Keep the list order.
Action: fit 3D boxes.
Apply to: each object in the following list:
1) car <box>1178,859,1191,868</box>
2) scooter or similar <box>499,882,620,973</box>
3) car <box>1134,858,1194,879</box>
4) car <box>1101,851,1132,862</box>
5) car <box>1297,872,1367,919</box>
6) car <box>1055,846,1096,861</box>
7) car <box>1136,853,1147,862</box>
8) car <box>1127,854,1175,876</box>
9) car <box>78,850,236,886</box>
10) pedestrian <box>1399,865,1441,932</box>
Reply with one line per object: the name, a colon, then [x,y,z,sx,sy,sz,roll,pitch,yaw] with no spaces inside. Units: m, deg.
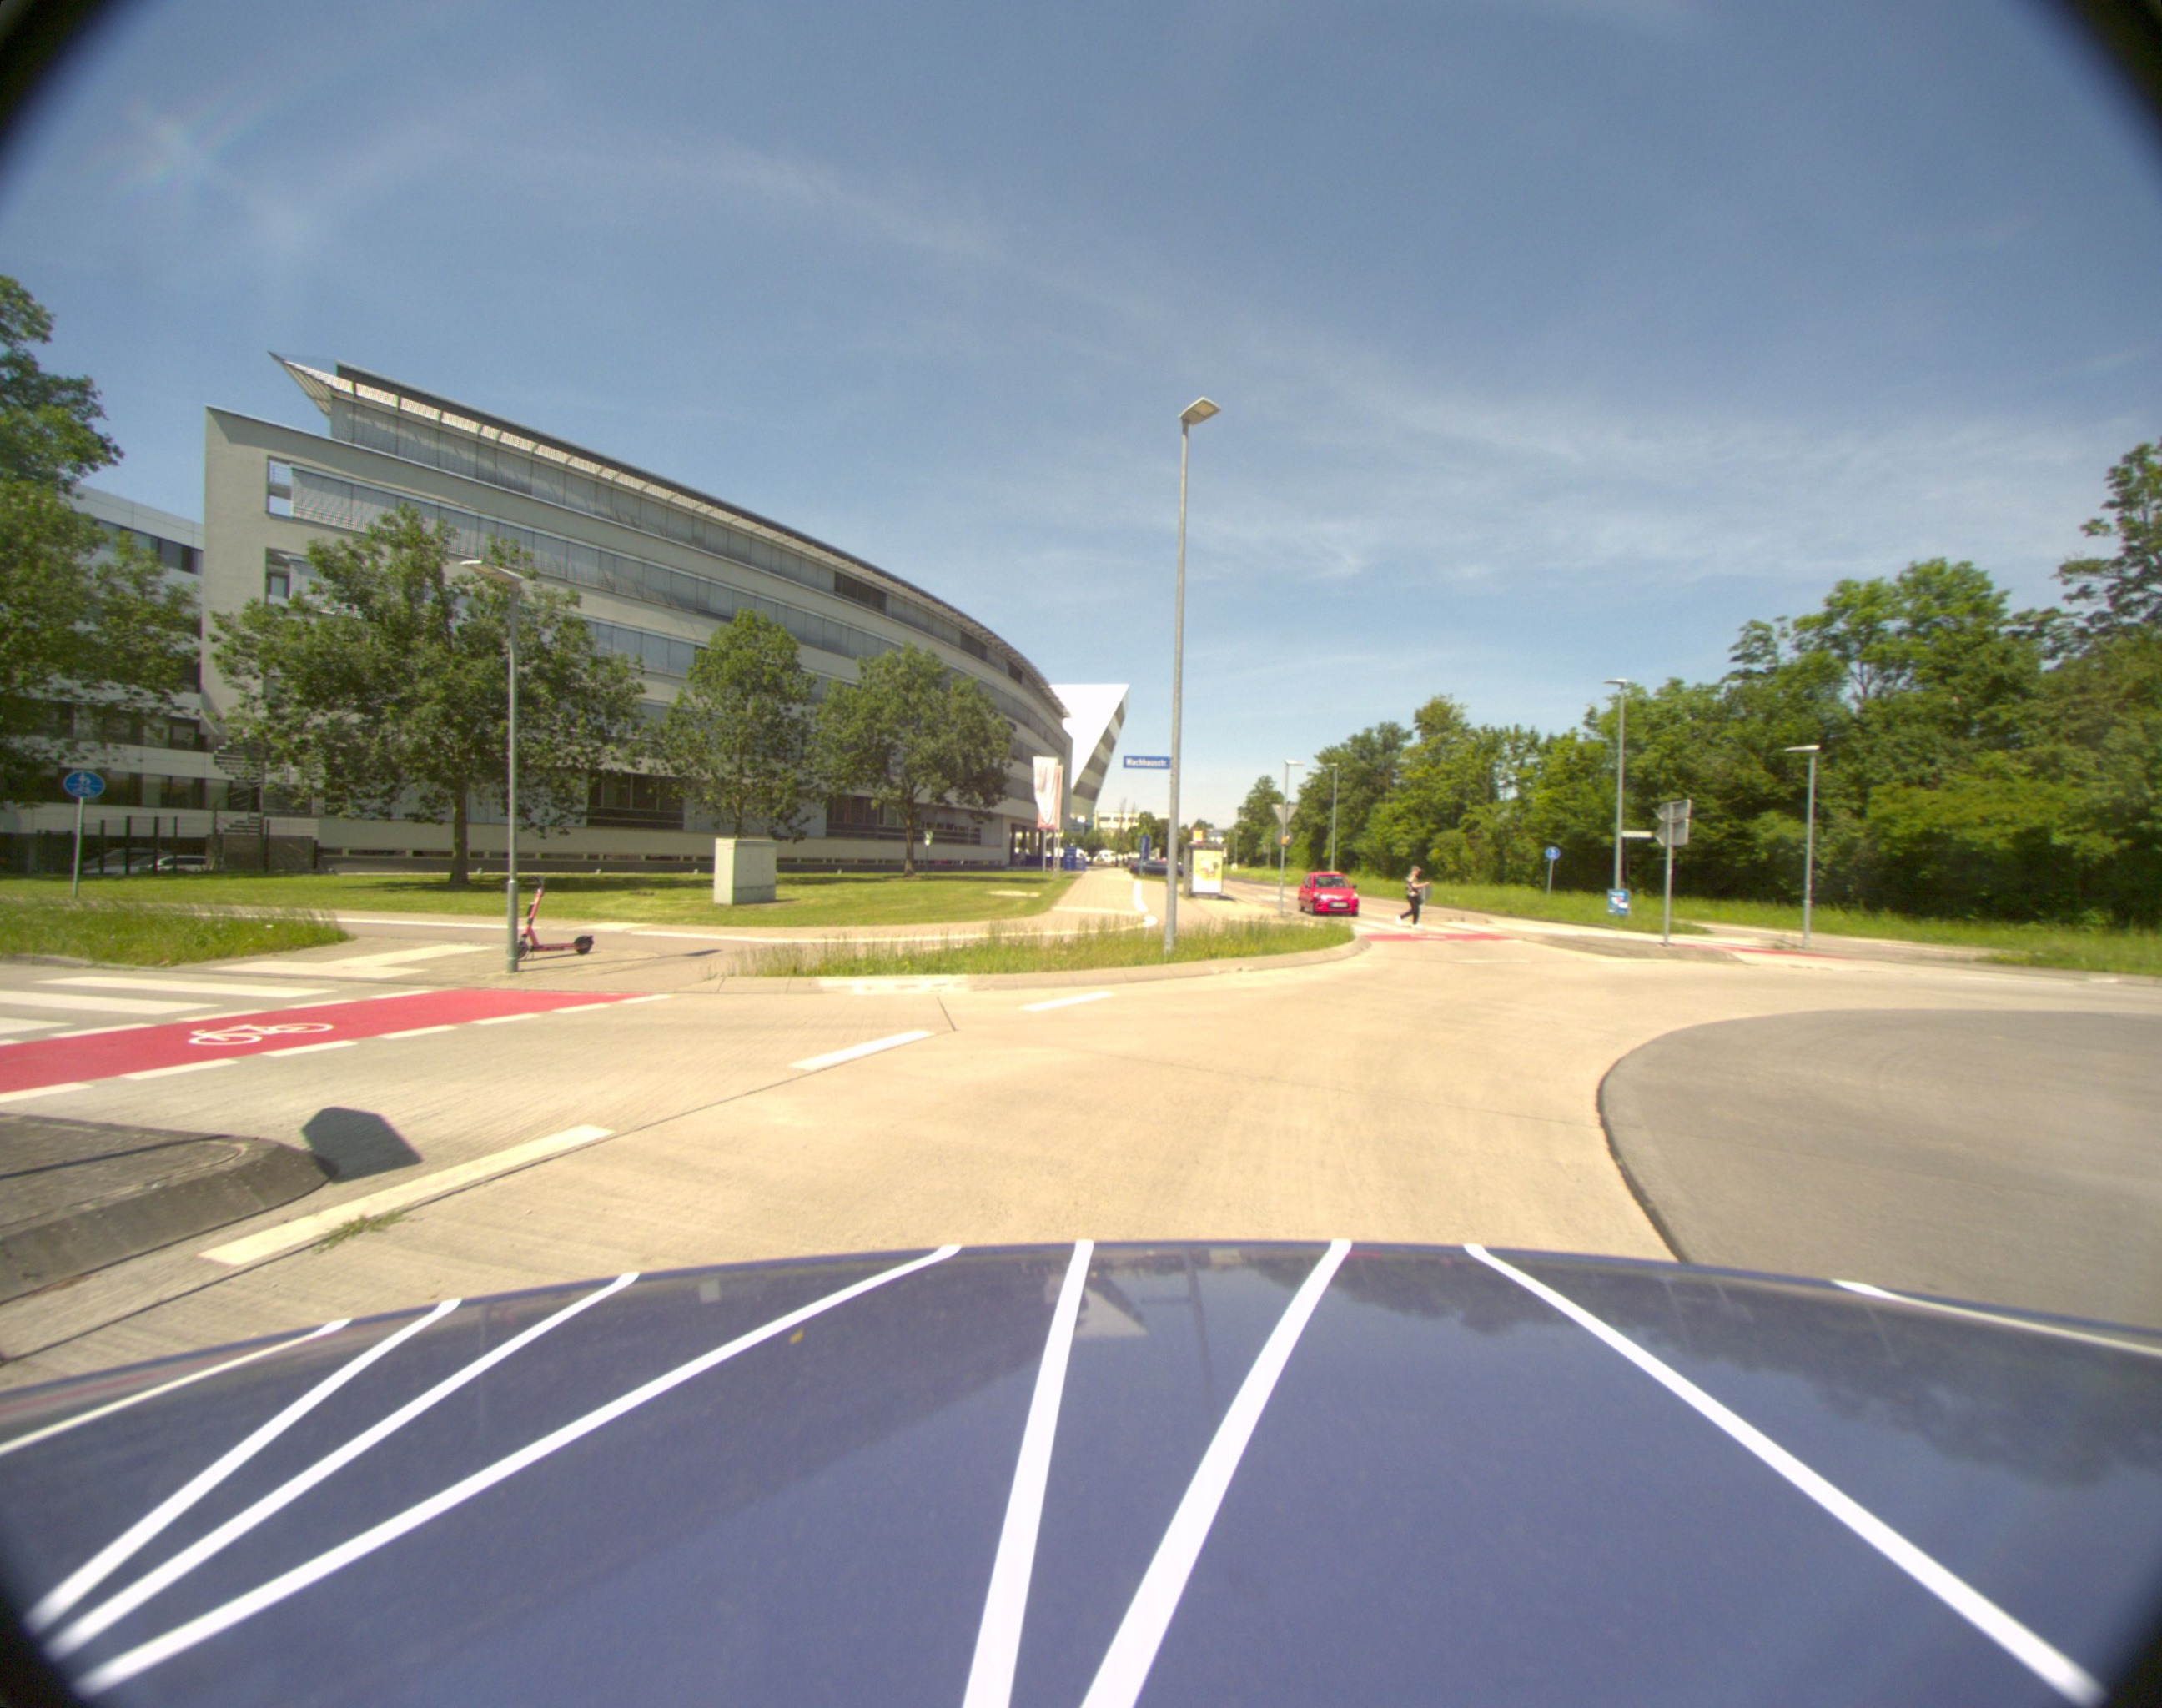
car: [18.304,1.697,134.460,1.998,1.470,4.290,3,-1,4]
scooter or similar: [-7.648,1.038,11.197,0.447,1.194,1.401,1,1,31]
car: [6.709,1.164,61.822,4.578,1.423,1.827,4,1,1]
car: [7.575,0.492,163.140,6.490,2.137,2.166,1,1,9]
car: [9.082,1.469,27.725,1.661,1.494,3.358,1,0,5]
car: [-0.973,-0.138,135.947,6.959,2.647,2.256,1,1,11]
car: [11.299,0.601,141.829,1.998,1.622,4.001,1,0,5]
car: [5.941,0.929,64.851,3.995,1.645,1.840,2,1,5]
car: [-43.099,0.600,35.612,1.851,1.560,4.359,1,0,8]
pedestrian: [9.592,1.250,21.546,0.709,1.812,0.826,4,1,3]
